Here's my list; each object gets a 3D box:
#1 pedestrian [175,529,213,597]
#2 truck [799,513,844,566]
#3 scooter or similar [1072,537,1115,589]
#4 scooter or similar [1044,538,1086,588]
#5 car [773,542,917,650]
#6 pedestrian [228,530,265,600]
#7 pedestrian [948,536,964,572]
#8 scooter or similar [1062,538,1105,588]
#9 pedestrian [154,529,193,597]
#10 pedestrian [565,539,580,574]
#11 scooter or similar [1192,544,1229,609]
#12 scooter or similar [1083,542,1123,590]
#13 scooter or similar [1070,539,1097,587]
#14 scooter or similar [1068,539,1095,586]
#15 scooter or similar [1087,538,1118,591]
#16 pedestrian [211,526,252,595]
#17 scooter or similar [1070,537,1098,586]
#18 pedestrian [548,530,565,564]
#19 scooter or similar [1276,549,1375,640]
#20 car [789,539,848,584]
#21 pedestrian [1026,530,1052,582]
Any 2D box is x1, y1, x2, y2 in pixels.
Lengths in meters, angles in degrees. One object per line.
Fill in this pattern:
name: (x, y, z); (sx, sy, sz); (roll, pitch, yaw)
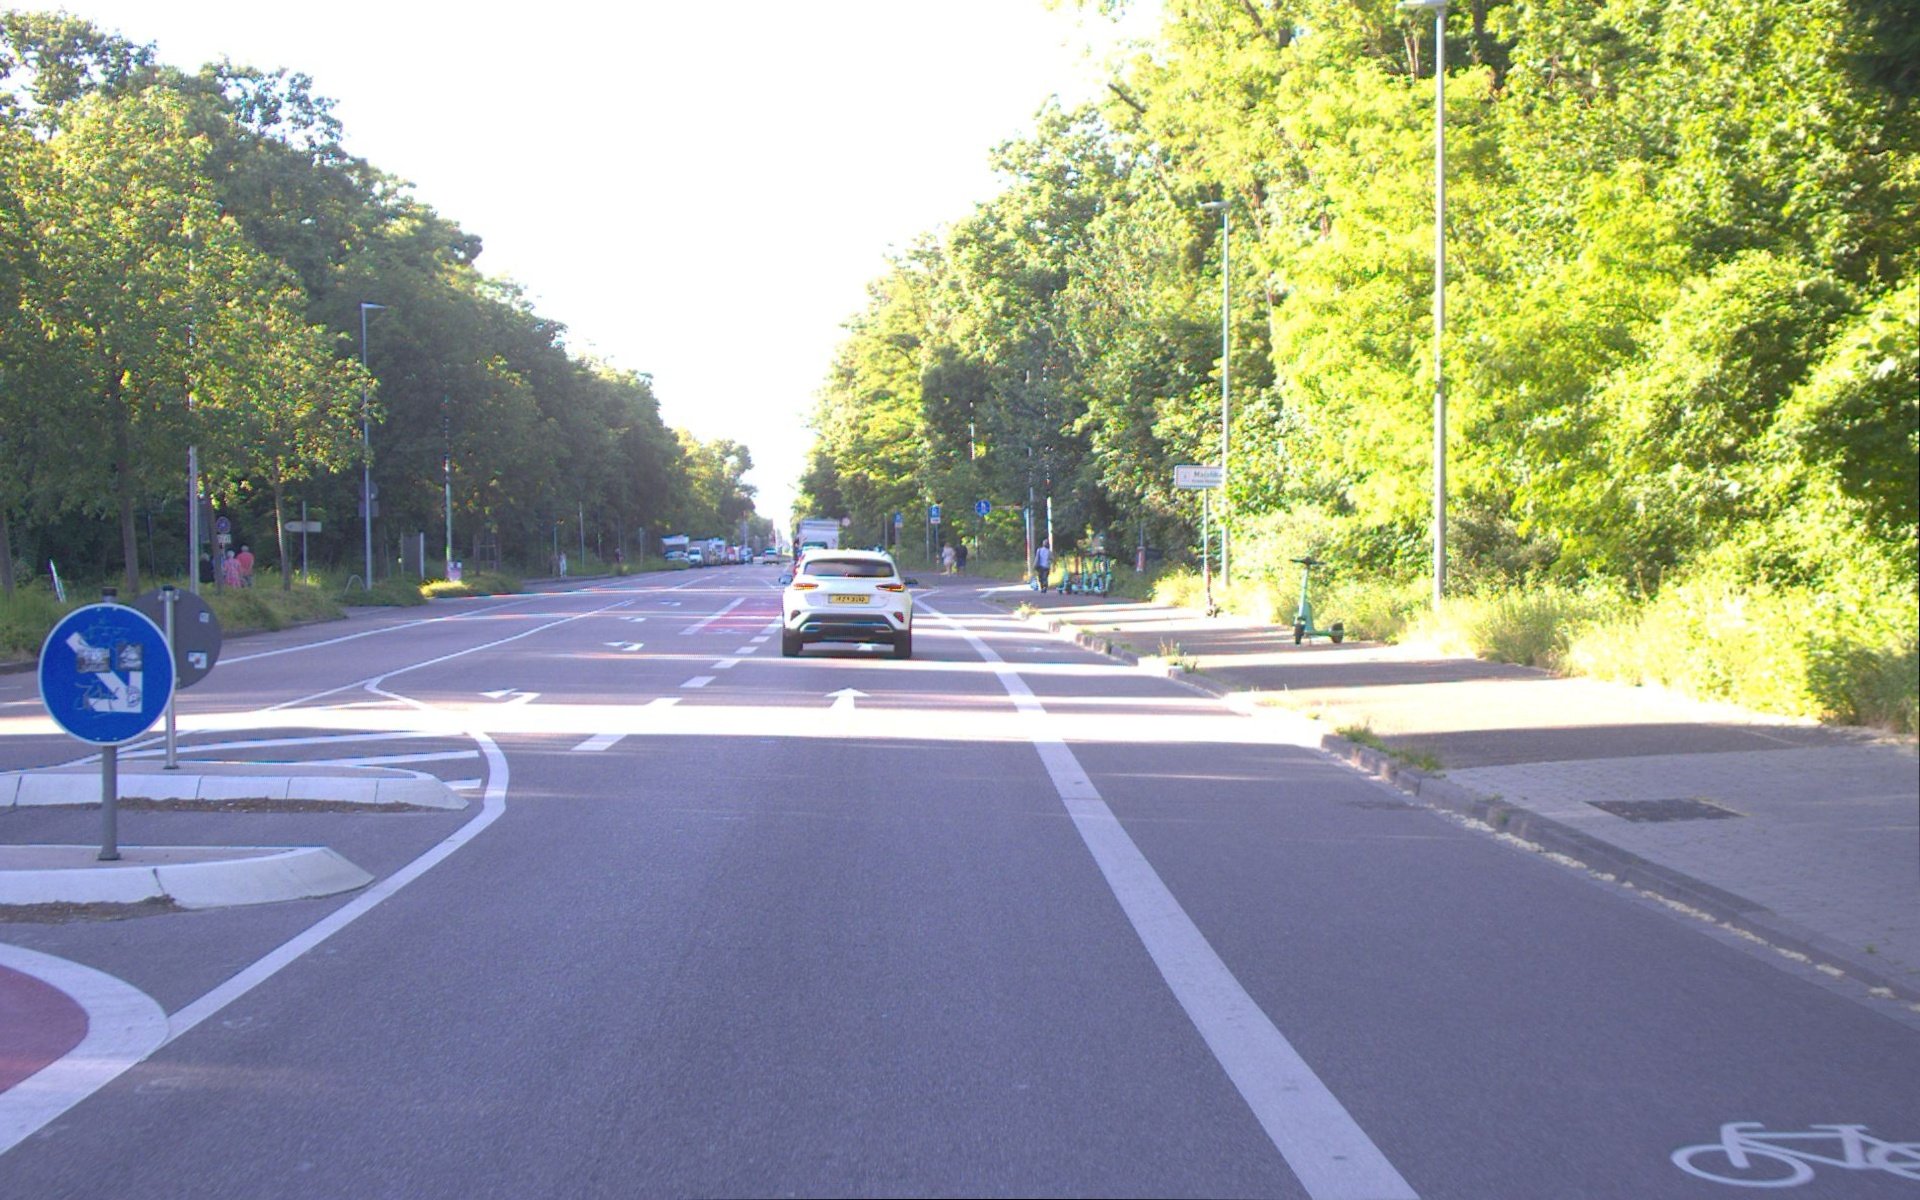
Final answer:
pedestrian: (-22.951, -1.105, 103.060); (0.718, 2.007, 0.796); (-1, 1, 31)
truck: (-9.450, -4.107, 233.690); (2.799, 3.558, 8.036); (0, 1, -4)
scooter or similar: (3.723, -1.031, 96.099); (0.682, 1.418, 1.682); (-1, 1, -16)
scooter or similar: (3.053, -1.085, 99.833); (0.682, 1.418, 1.682); (-1, 1, -18)
car: (-1.669, -0.087, 48.847); (1.761, 1.454, 3.818); (1, 1, -6)
pedestrian: (-20.776, -1.024, 100.101); (0.718, 2.007, 0.746); (-1, 1, 29)
pedestrian: (-0.195, -2.161, 161.010); (0.698, 1.647, 0.876); (-1, 1, -3)
scooter or similar: (3.524, -1.064, 98.166); (0.682, 1.418, 1.682); (-1, 1, -18)
pedestrian: (-23.419, -1.098, 102.373); (0.718, 2.007, 0.796); (0, 1, 31)
pedestrian: (-22.809, -2.566, 202.393); (0.831, 2.007, 1.269); (-1, 1, -4)
scooter or similar: (4.842, -0.460, 66.401); (0.533, 1.245, 1.541); (-1, 1, -2)
scooter or similar: (3.916, -0.932, 94.007); (0.465, 1.302, 1.481); (-1, 1, -24)
scooter or similar: (3.693, -1.116, 102.677); (0.682, 1.418, 1.245); (-1, 1, 6)
scooter or similar: (3.680, -1.137, 104.217); (0.682, 1.418, 1.682); (-1, 1, -2)
scooter or similar: (3.810, -0.956, 92.149); (0.682, 1.418, 1.682); (-1, 1, -3)
pedestrian: (-21.204, -1.150, 100.057); (0.718, 2.007, 0.873); (-1, 1, 29)
scooter or similar: (3.647, -1.126, 101.162); (0.682, 1.418, 1.682); (-1, 1, -2)
pedestrian: (-23.746, -3.108, 202.317); (0.863, 2.007, 1.269); (-1, 1, -3)
scooter or similar: (5.163, -0.090, 48.551); (0.534, 1.245, 1.537); (0, 1, 45)
car: (-4.926, -1.350, 120.401); (1.993, 1.514, 4.000); (-1, 1, -2)
pedestrian: (2.420, -1.338, 104.937); (0.755, 1.558, 0.802); (-1, 1, 3)
